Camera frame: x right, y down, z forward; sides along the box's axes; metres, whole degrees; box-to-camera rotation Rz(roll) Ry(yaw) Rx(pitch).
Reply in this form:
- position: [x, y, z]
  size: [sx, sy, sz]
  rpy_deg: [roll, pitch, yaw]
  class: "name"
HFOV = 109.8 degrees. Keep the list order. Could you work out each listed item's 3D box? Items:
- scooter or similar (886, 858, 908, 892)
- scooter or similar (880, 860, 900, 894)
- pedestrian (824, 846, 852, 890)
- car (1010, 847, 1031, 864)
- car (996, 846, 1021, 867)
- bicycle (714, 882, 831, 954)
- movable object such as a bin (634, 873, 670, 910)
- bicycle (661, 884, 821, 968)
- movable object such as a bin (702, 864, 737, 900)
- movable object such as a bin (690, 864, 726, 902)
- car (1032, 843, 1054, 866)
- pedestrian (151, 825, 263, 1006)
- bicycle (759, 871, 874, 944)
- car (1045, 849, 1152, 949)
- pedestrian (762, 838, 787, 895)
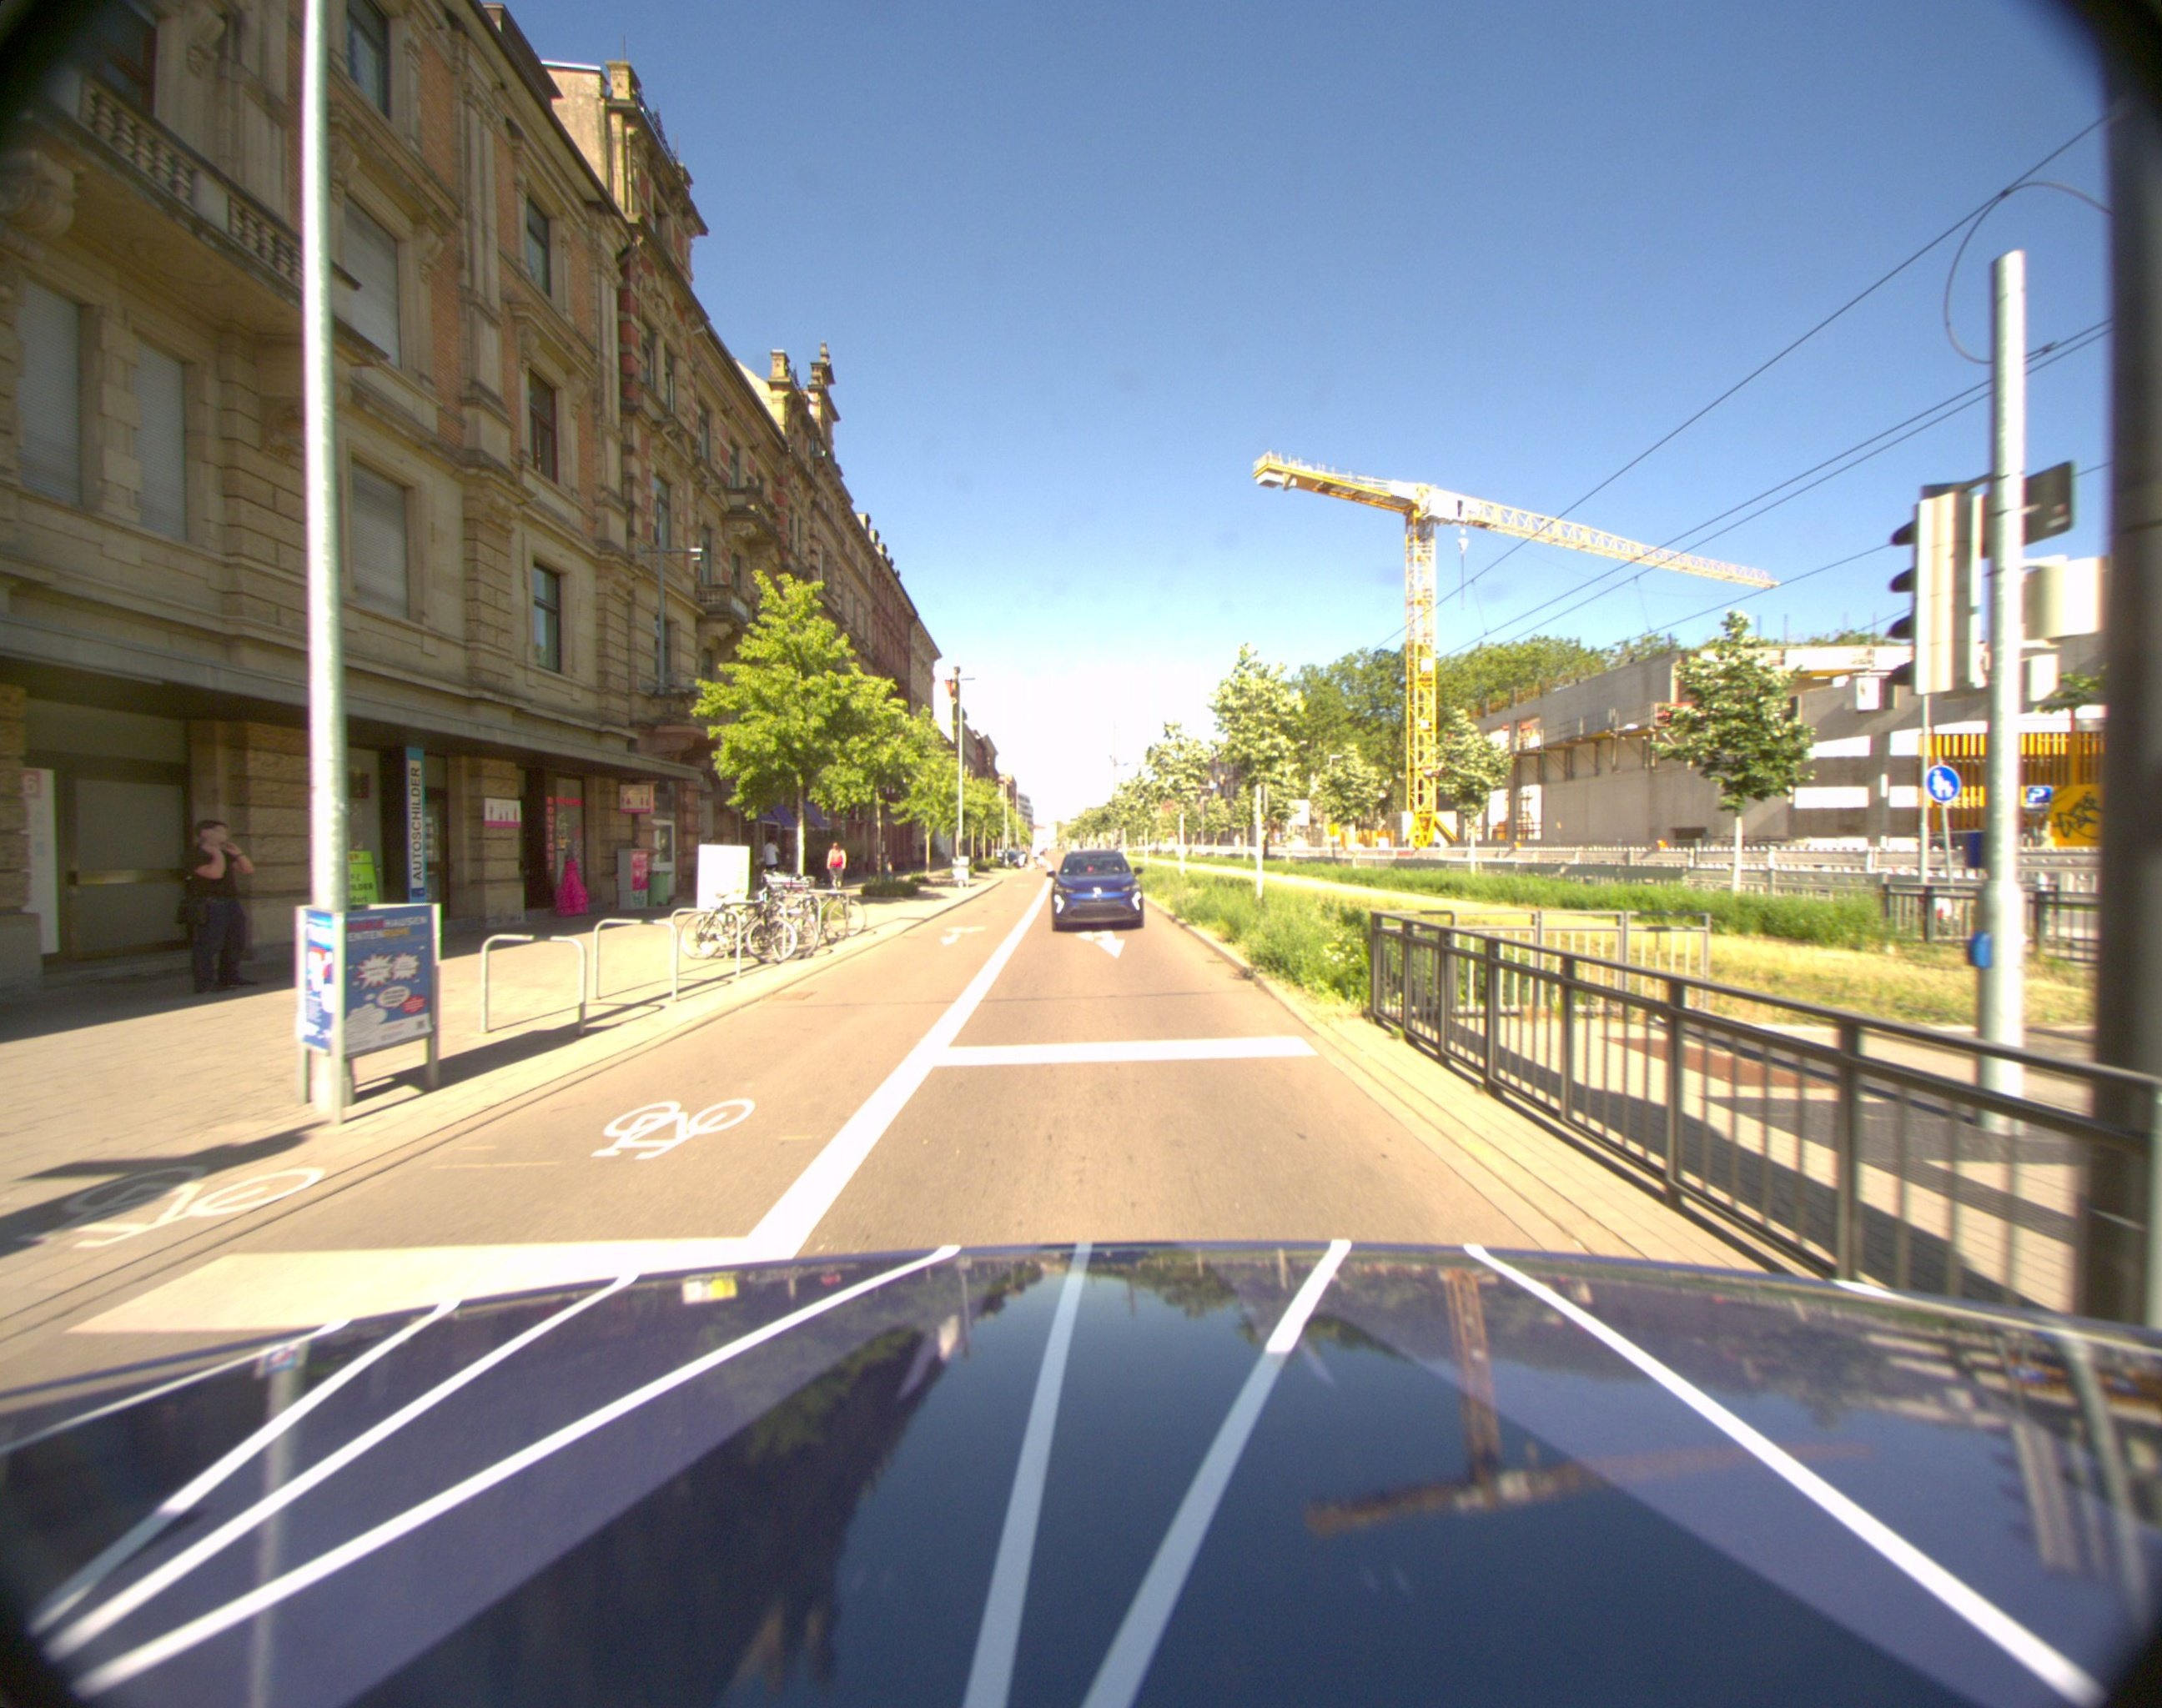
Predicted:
- position: [-6.651, 0.769, 27.465]
  size: [0.672, 1.213, 0.327]
  rpy_deg: [0, 1, 21]
  class: "scooter or similar"
- position: [-6.762, 0.804, 26.902]
  size: [0.637, 1.166, 0.290]
  rpy_deg: [0, 1, 21]
  class: "scooter or similar"
- position: [-8.734, 0.494, 27.327]
  size: [0.753, 1.575, 0.808]
  rpy_deg: [1, 1, -1]
  class: "pedestrian"
- position: [-5.674, 0.144, 71.277]
  size: [1.669, 1.453, 3.748]
  rpy_deg: [-3, 2, 0]
  class: "car"
- position: [-6.104, 0.218, 64.424]
  size: [1.669, 1.574, 3.748]
  rpy_deg: [-3, 2, 0]
  class: "car"
- position: [-5.041, 1.043, 12.491]
  size: [1.668, 1.104, 0.602]
  rpy_deg: [2, 2, -9]
  class: "bicycle"
- position: [-10.639, 0.929, 18.858]
  size: [0.606, 0.861, 0.476]
  rpy_deg: [1, 2, 4]
  class: "movable object such as a bin"
- position: [-4.914, 1.031, 11.054]
  size: [2.054, 1.114, 0.603]
  rpy_deg: [1, 2, -1]
  class: "bicycle"
- position: [-10.459, 0.806, 22.008]
  size: [0.692, 0.969, 0.587]
  rpy_deg: [-1, 2, 4]
  class: "movable object such as a bin"
- position: [-10.483, 0.806, 21.366]
  size: [0.692, 1.007, 0.587]
  rpy_deg: [1, 2, 4]
  class: "movable object such as a bin"
- position: [-3.322, 0.029, 66.693]
  size: [1.669, 1.787, 3.748]
  rpy_deg: [-3, 2, 0]
  class: "car"
- position: [-8.942, 0.611, 7.792]
  size: [0.512, 1.791, 0.501]
  rpy_deg: [-1, 1, 7]
  class: "pedestrian"
- position: [-4.863, 0.975, 14.060]
  size: [1.869, 1.245, 0.691]
  rpy_deg: [2, 2, -2]
  class: "bicycle"
- position: [0.292, 0.761, 15.089]
  size: [1.749, 1.613, 4.152]
  rpy_deg: [-3, 0, 0]
  class: "car"
- position: [-9.984, 0.398, 24.749]
  size: [0.512, 1.839, 0.501]
  rpy_deg: [-1, 1, 7]
  class: "pedestrian"
